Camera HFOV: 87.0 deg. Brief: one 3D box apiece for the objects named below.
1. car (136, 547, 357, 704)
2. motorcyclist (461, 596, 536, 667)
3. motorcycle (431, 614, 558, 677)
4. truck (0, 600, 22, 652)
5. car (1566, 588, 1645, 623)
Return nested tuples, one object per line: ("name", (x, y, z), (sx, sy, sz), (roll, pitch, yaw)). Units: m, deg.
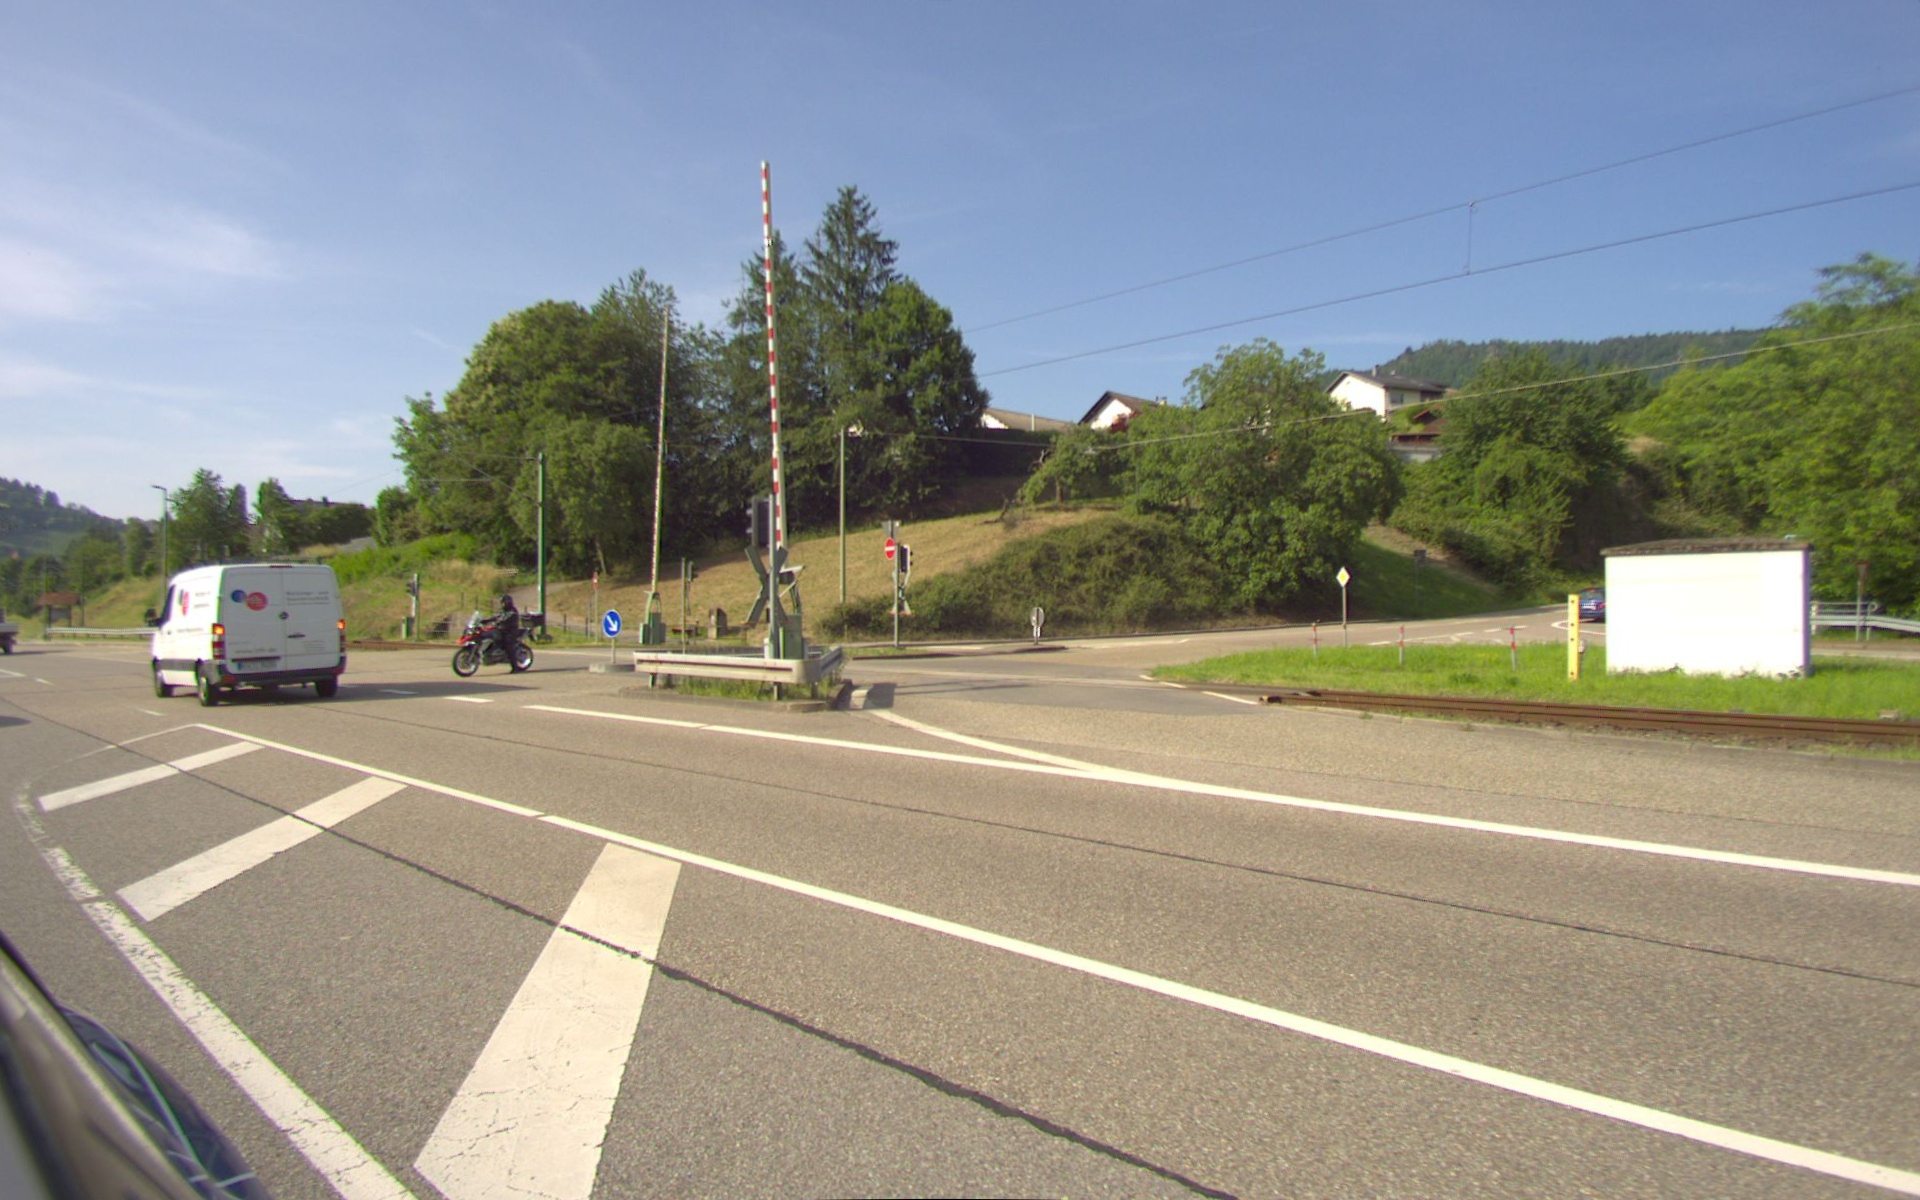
("car", (-13.044, 0.433, 18.360), (5.225, 2.455, 2.097), (-1, 0, 41))
("motorcyclist", (-10.561, 0.705, 23.169), (0.986, 1.555, 1.176), (-1, 1, 26))
("motorcycle", (-10.577, 0.999, 23.113), (1.000, 1.278, 2.571), (-1, 1, 26))
("truck", (-45.179, 1.230, 46.471), (6.277, 2.283, 2.421), (-1, 0, 41))
("car", (29.906, 0.270, 46.882), (3.936, 1.541, 1.953), (0, -1, -39))
